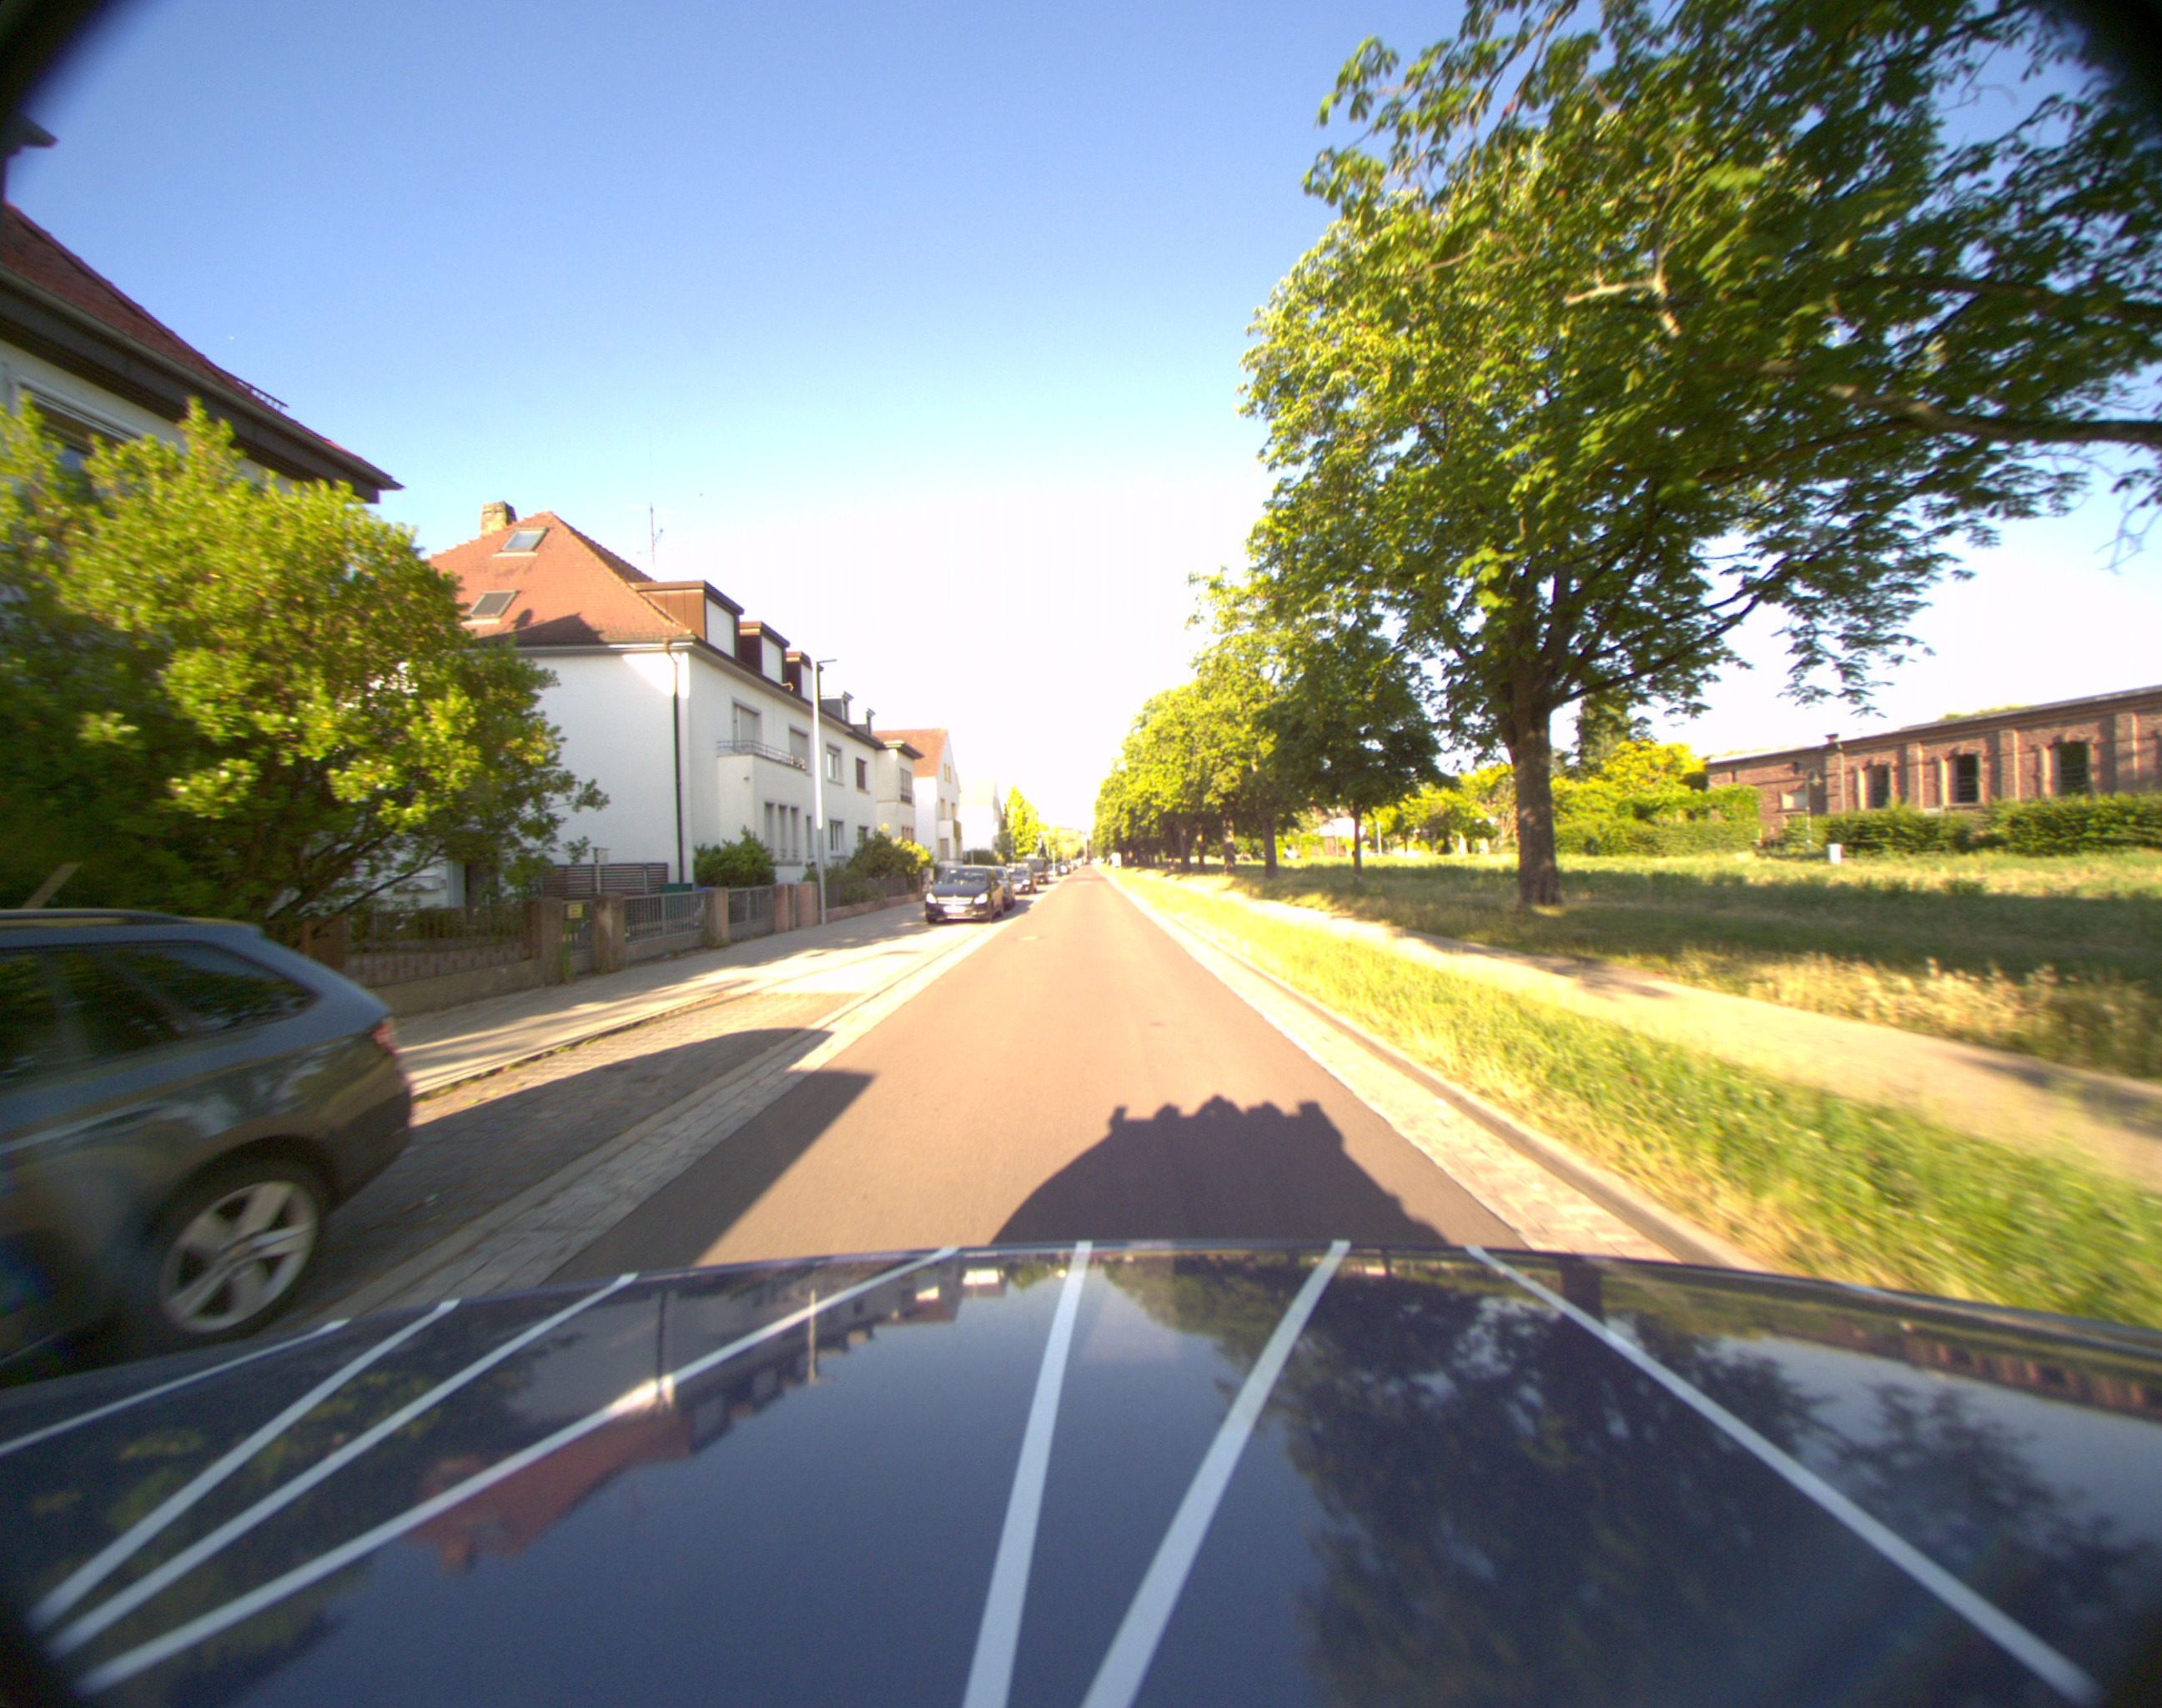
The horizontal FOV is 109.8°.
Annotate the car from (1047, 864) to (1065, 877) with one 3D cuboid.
[{"bbox_3d":[-2.818,1.878,86.043,1.798,1.473,4.125,0,-1,1],"label":"car"}]

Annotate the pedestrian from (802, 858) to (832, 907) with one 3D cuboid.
[{"bbox_3d":[-8.858,0.951,25.497,0.595,1.569,0.631,-3,1,27],"label":"pedestrian"}]

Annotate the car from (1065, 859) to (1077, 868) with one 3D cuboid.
[{"bbox_3d":[-1.753,1.708,134.961,1.910,1.698,4.576,0,-1,2],"label":"car"}]

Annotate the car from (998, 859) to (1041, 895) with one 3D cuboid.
[{"bbox_3d":[-3.151,1.129,39.674,1.798,1.760,4.473,0,0,1],"label":"car"}]

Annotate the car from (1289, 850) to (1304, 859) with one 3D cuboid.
[{"bbox_3d":[43.756,0.124,154.219,1.766,1.619,4.000,-3,0,0],"label":"car"}]

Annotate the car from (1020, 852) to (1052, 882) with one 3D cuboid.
[{"bbox_3d":[-3.287,0.933,56.263,1.910,2.119,4.815,0,0,2],"label":"car"}]

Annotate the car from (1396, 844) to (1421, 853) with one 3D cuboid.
[{"bbox_3d":[57.504,-0.989,133.506,3.636,1.273,1.586,-3,1,2],"label":"car"}]

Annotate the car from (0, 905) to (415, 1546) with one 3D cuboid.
[{"bbox_3d":[-3.694,1.052,1.131,1.668,1.583,4.086,-3,0,1],"label":"car"}]

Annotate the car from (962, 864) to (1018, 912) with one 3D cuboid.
[{"bbox_3d":[-3.231,1.162,27.654,1.722,1.565,4.209,0,0,-3],"label":"car"}]

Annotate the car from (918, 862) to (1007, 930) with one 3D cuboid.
[{"bbox_3d":[-3.336,1.133,22.202,1.837,1.675,4.414,1,0,0],"label":"car"}]

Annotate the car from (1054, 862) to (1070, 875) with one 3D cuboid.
[{"bbox_3d":[-2.467,1.945,100.324,1.910,1.698,4.576,0,-1,2],"label":"car"}]
